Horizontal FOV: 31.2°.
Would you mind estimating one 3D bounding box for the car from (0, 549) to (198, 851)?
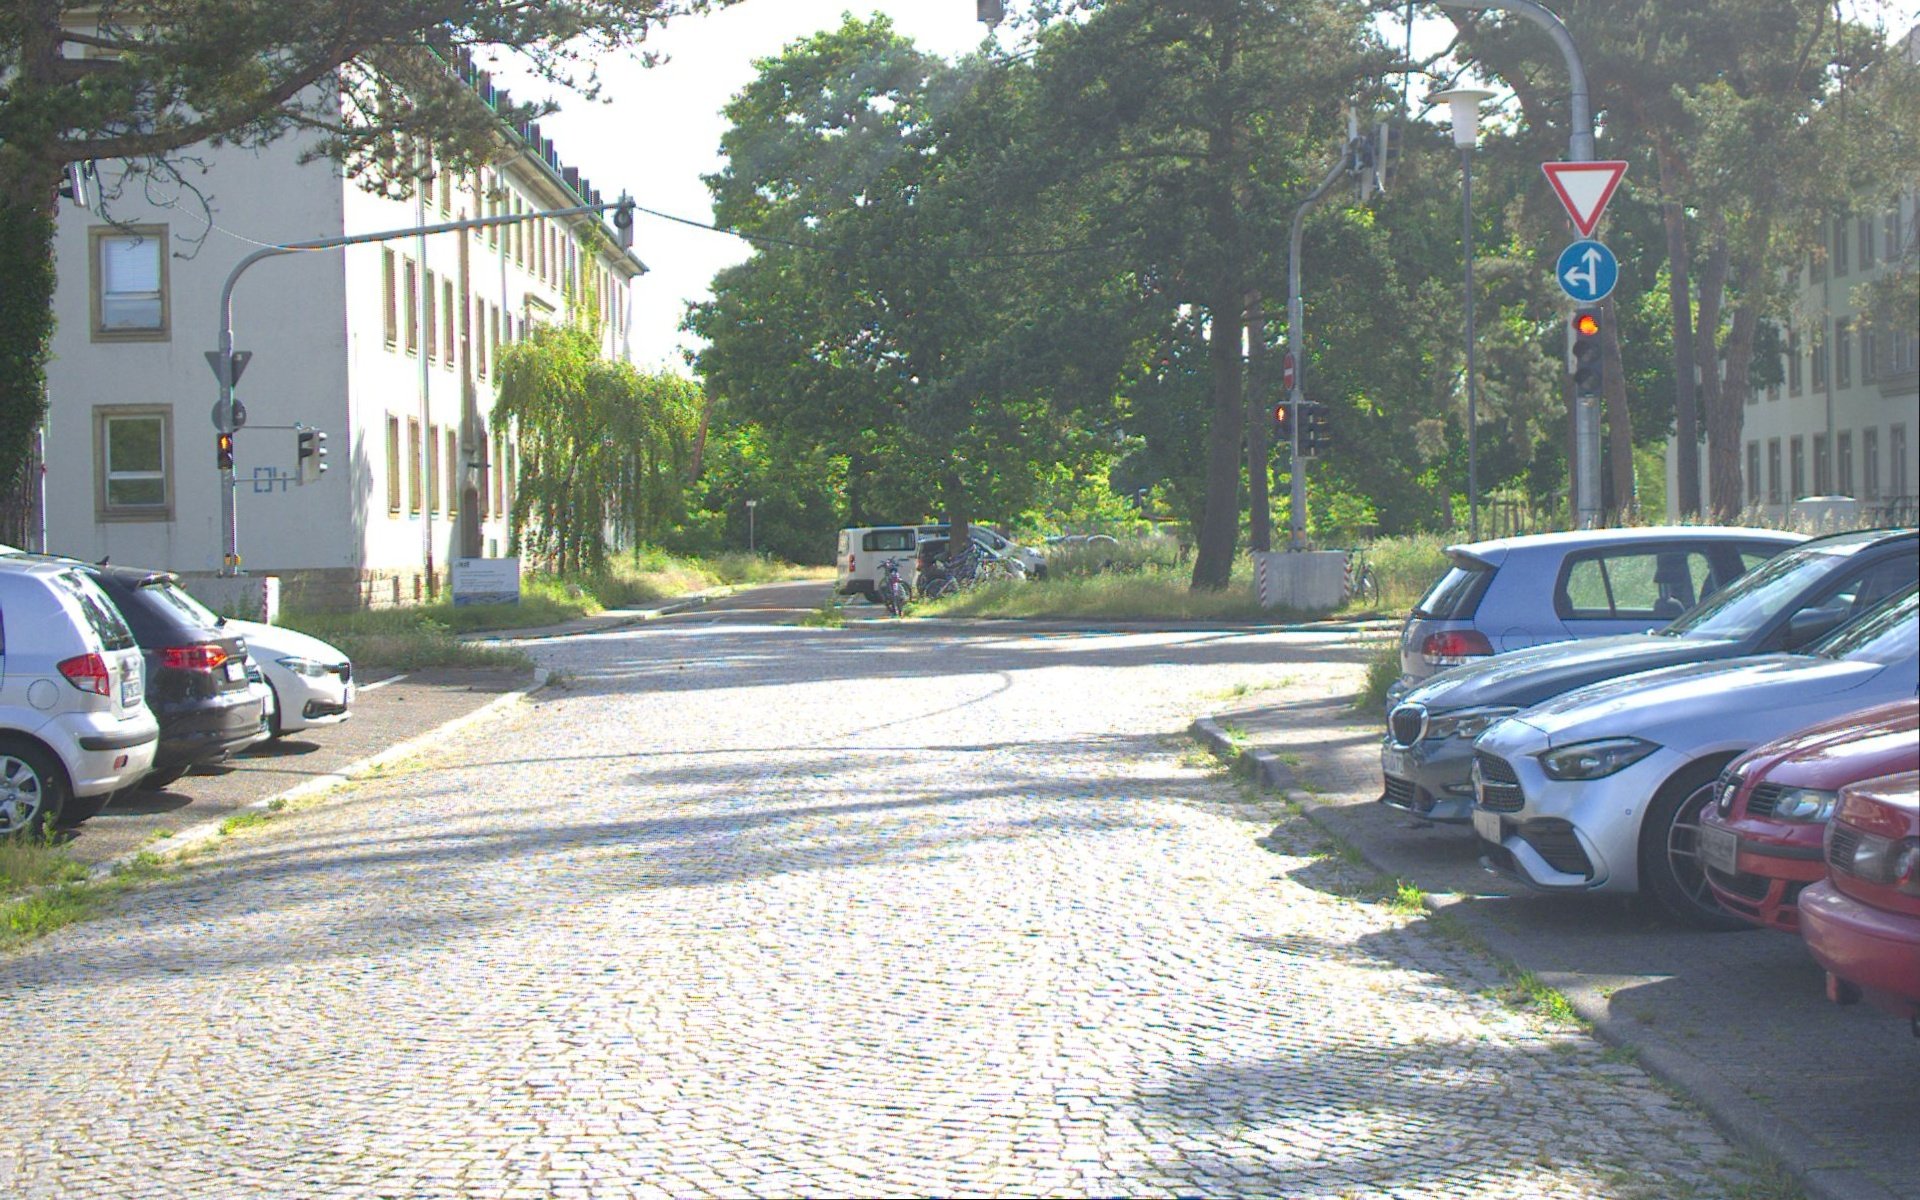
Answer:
[{"bbox_3d":[-6.038,0.468,18.041,3.746,1.482,1.646,1,1,-3],"label":"car"}]

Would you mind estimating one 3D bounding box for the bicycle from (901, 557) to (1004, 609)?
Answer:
[{"bbox_3d":[-0.153,-0.350,69.583,2.004,1.007,0.632,1,0,-8],"label":"bicycle"}]

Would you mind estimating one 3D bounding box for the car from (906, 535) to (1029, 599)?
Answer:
[{"bbox_3d":[0.173,-0.797,82.342,2.781,1.462,1.671,1,0,-5],"label":"car"}]

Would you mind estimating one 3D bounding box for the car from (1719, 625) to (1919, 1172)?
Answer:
[{"bbox_3d":[4.062,0.651,9.039,3.707,1.219,1.746,-2,2,0],"label":"car"}]

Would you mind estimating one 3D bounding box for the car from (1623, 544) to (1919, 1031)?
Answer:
[{"bbox_3d":[4.454,0.502,11.436,4.127,1.444,1.637,-2,1,0],"label":"car"}]

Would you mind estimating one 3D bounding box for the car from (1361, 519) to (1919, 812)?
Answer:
[{"bbox_3d":[4.280,0.317,19.014,3.882,1.410,1.637,-2,1,0],"label":"car"}]

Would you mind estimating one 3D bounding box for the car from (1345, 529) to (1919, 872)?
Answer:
[{"bbox_3d":[4.212,0.398,16.234,4.559,1.410,1.637,-2,1,0],"label":"car"}]

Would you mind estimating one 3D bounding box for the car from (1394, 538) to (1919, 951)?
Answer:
[{"bbox_3d":[4.060,0.470,13.519,4.432,1.410,1.781,-2,2,0],"label":"car"}]

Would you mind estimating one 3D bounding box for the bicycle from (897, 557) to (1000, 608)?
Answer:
[{"bbox_3d":[-0.240,-0.359,70.465,2.027,1.007,0.627,1,0,-8],"label":"bicycle"}]

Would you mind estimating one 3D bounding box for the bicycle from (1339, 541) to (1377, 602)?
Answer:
[{"bbox_3d":[6.456,-0.463,55.790,0.300,0.957,1.586,1,0,-4],"label":"bicycle"}]

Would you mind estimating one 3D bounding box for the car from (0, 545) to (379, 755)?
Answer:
[{"bbox_3d":[-6.685,0.339,25.957,4.333,1.463,1.831,1,1,-3],"label":"car"}]

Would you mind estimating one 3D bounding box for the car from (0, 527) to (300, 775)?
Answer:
[{"bbox_3d":[-6.730,0.302,23.620,4.079,1.588,1.886,1,1,-3],"label":"car"}]

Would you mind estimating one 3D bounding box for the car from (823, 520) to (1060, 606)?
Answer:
[{"bbox_3d":[-0.468,-0.918,85.913,5.520,2.007,2.001,1,0,-18],"label":"car"}]

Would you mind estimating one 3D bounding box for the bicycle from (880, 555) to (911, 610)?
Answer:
[{"bbox_3d":[-1.212,-0.323,64.261,0.467,1.007,1.586,1,0,-4],"label":"bicycle"}]

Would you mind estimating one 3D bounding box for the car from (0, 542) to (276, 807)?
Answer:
[{"bbox_3d":[-6.258,0.394,20.661,3.986,1.475,1.803,1,1,-3],"label":"car"}]

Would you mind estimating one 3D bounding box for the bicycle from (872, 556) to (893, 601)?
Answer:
[{"bbox_3d":[-1.738,-0.485,77.518,0.417,1.007,1.483,1,0,0],"label":"bicycle"}]

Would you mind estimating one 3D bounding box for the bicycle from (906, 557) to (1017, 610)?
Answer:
[{"bbox_3d":[0.032,-0.332,67.902,2.108,1.007,0.621,1,0,-8],"label":"bicycle"}]
